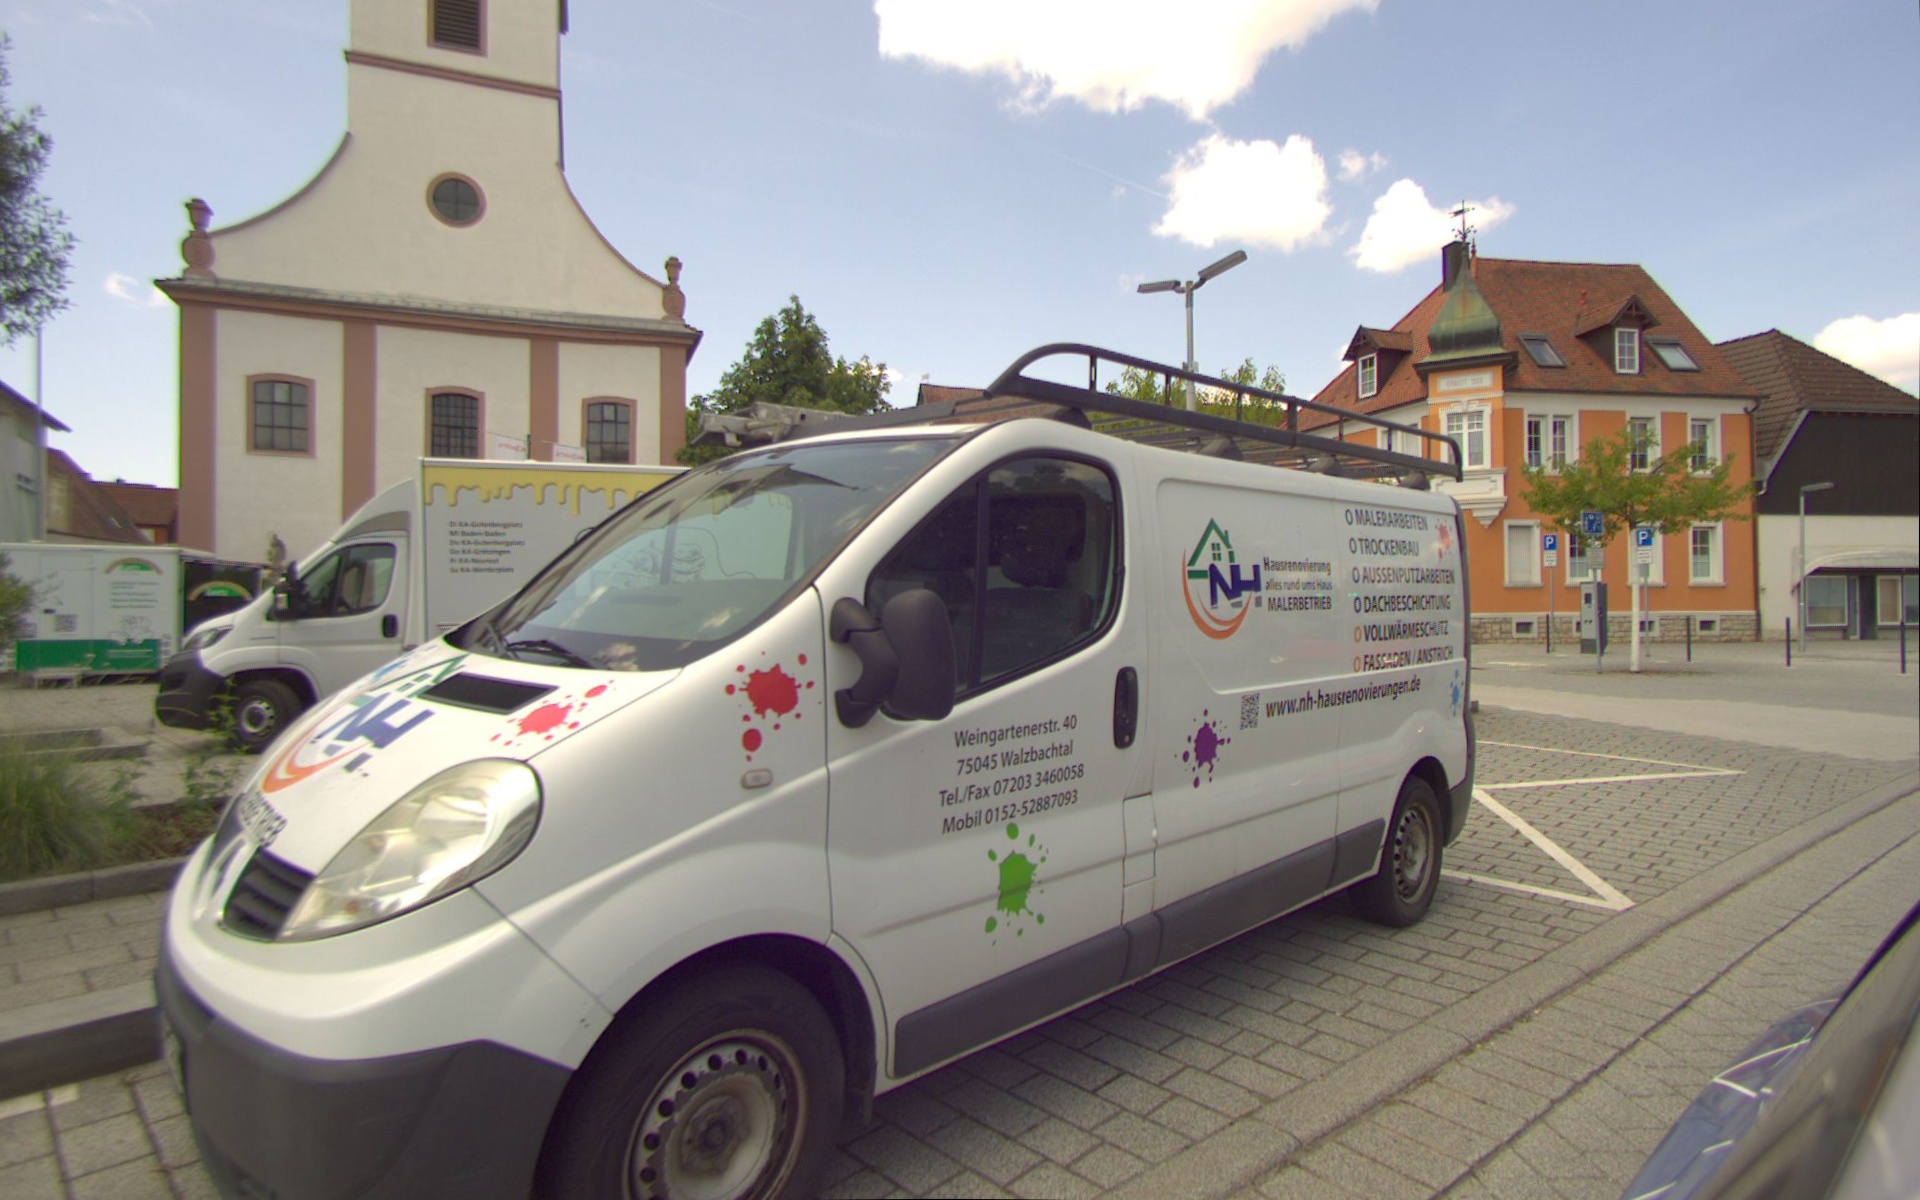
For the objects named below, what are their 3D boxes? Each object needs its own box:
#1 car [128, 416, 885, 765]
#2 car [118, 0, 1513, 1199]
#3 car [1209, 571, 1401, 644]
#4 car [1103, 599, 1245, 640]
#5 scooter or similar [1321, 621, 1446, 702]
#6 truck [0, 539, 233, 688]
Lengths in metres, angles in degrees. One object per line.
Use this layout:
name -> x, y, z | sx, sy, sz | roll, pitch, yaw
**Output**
car -> -4.639, -0.117, 11.505 | 6.968, 3.001, 2.765 | -1, -1, -26
car -> 0.153, 0.124, 3.813 | 5.016, 2.204, 1.944 | 0, 1, -44
car -> 10.270, 0.193, 30.084 | 5.380, 2.039, 2.003 | 0, -1, -22
car -> 8.165, 0.731, 38.560 | 5.018, 1.460, 2.003 | 0, -1, -22
scooter or similar -> 5.088, 0.709, 12.200 | 0.800, 0.892, 1.145 | 0, 0, -34
truck -> -17.019, 0.226, 20.779 | 2.899, 2.529, 6.828 | 0, 0, -32
